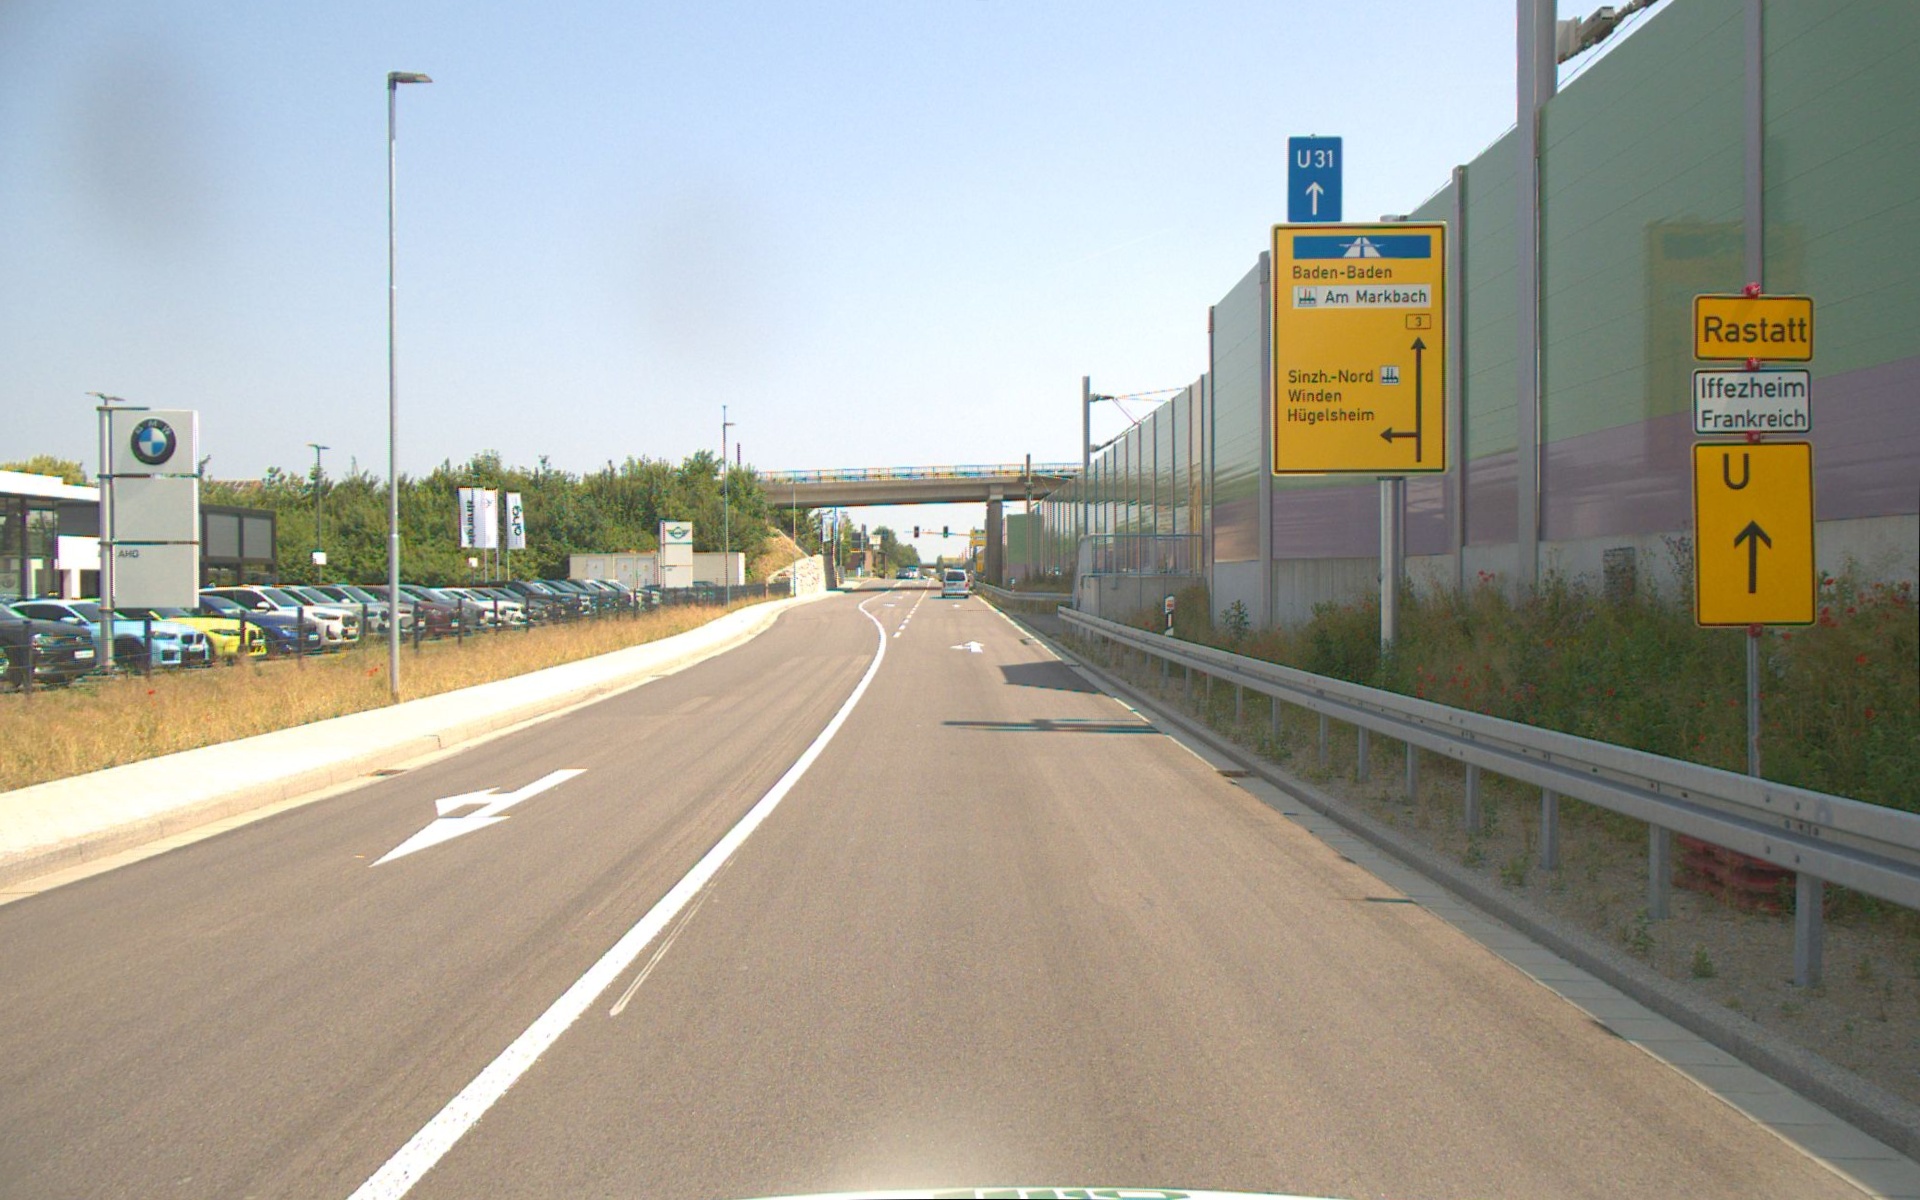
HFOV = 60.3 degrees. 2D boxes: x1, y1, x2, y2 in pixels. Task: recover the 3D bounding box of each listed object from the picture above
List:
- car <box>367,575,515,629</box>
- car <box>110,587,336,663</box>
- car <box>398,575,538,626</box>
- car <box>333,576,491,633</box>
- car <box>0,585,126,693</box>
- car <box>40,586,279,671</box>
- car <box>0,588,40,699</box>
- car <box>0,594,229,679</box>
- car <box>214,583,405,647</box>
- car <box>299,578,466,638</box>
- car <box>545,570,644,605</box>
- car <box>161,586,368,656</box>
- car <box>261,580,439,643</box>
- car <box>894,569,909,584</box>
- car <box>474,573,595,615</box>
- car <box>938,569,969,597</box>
[{"bbox_3d":[-16.408,0.035,52.430,4.079,1.572,1.815,-1,2,-1],"label":"car"},{"bbox_3d":[-16.125,0.529,36.331,4.079,1.492,1.815,-1,2,-1],"label":"car"},{"bbox_3d":[-16.358,0.008,55.126,4.079,1.572,1.815,-1,2,-1],"label":"car"},{"bbox_3d":[-16.387,0.106,49.616,4.079,1.572,1.815,-1,2,-1],"label":"car"},{"bbox_3d":[-15.766,0.620,26.313,3.907,1.599,2.053,-1,2,-3],"label":"car"},{"bbox_3d":[-16.160,0.557,33.532,3.905,1.561,1.815,-1,2,-1],"label":"car"},{"bbox_3d":[-15.628,0.668,23.618,3.907,1.561,1.815,-1,2,-3],"label":"car"},{"bbox_3d":[-16.070,0.665,30.953,3.905,1.415,1.879,-1,2,0],"label":"car"},{"bbox_3d":[-16.464,0.364,41.969,4.079,1.492,1.815,-1,2,-1],"label":"car"},{"bbox_3d":[-16.401,0.222,47.138,4.079,1.572,1.815,-1,2,-1],"label":"car"},{"bbox_3d":[-16.724,-0.572,75.839,4.079,1.492,1.815,-1,2,-1],"label":"car"},{"bbox_3d":[-16.376,0.483,39.084,4.079,1.492,1.815,-1,2,-1],"label":"car"},{"bbox_3d":[-16.439,0.294,44.726,4.079,1.572,1.815,-1,2,-1],"label":"car"},{"bbox_3d":[-7.883,-3.166,223.993,1.953,1.959,4.000,-1,1,-1],"label":"car"},{"bbox_3d":[-16.187,-0.248,63.023,4.079,1.492,1.815,-1,2,-1],"label":"car"},{"bbox_3d":[-0.396,-1.115,106.526,1.952,1.787,4.001,0,1,1],"label":"car"}]
